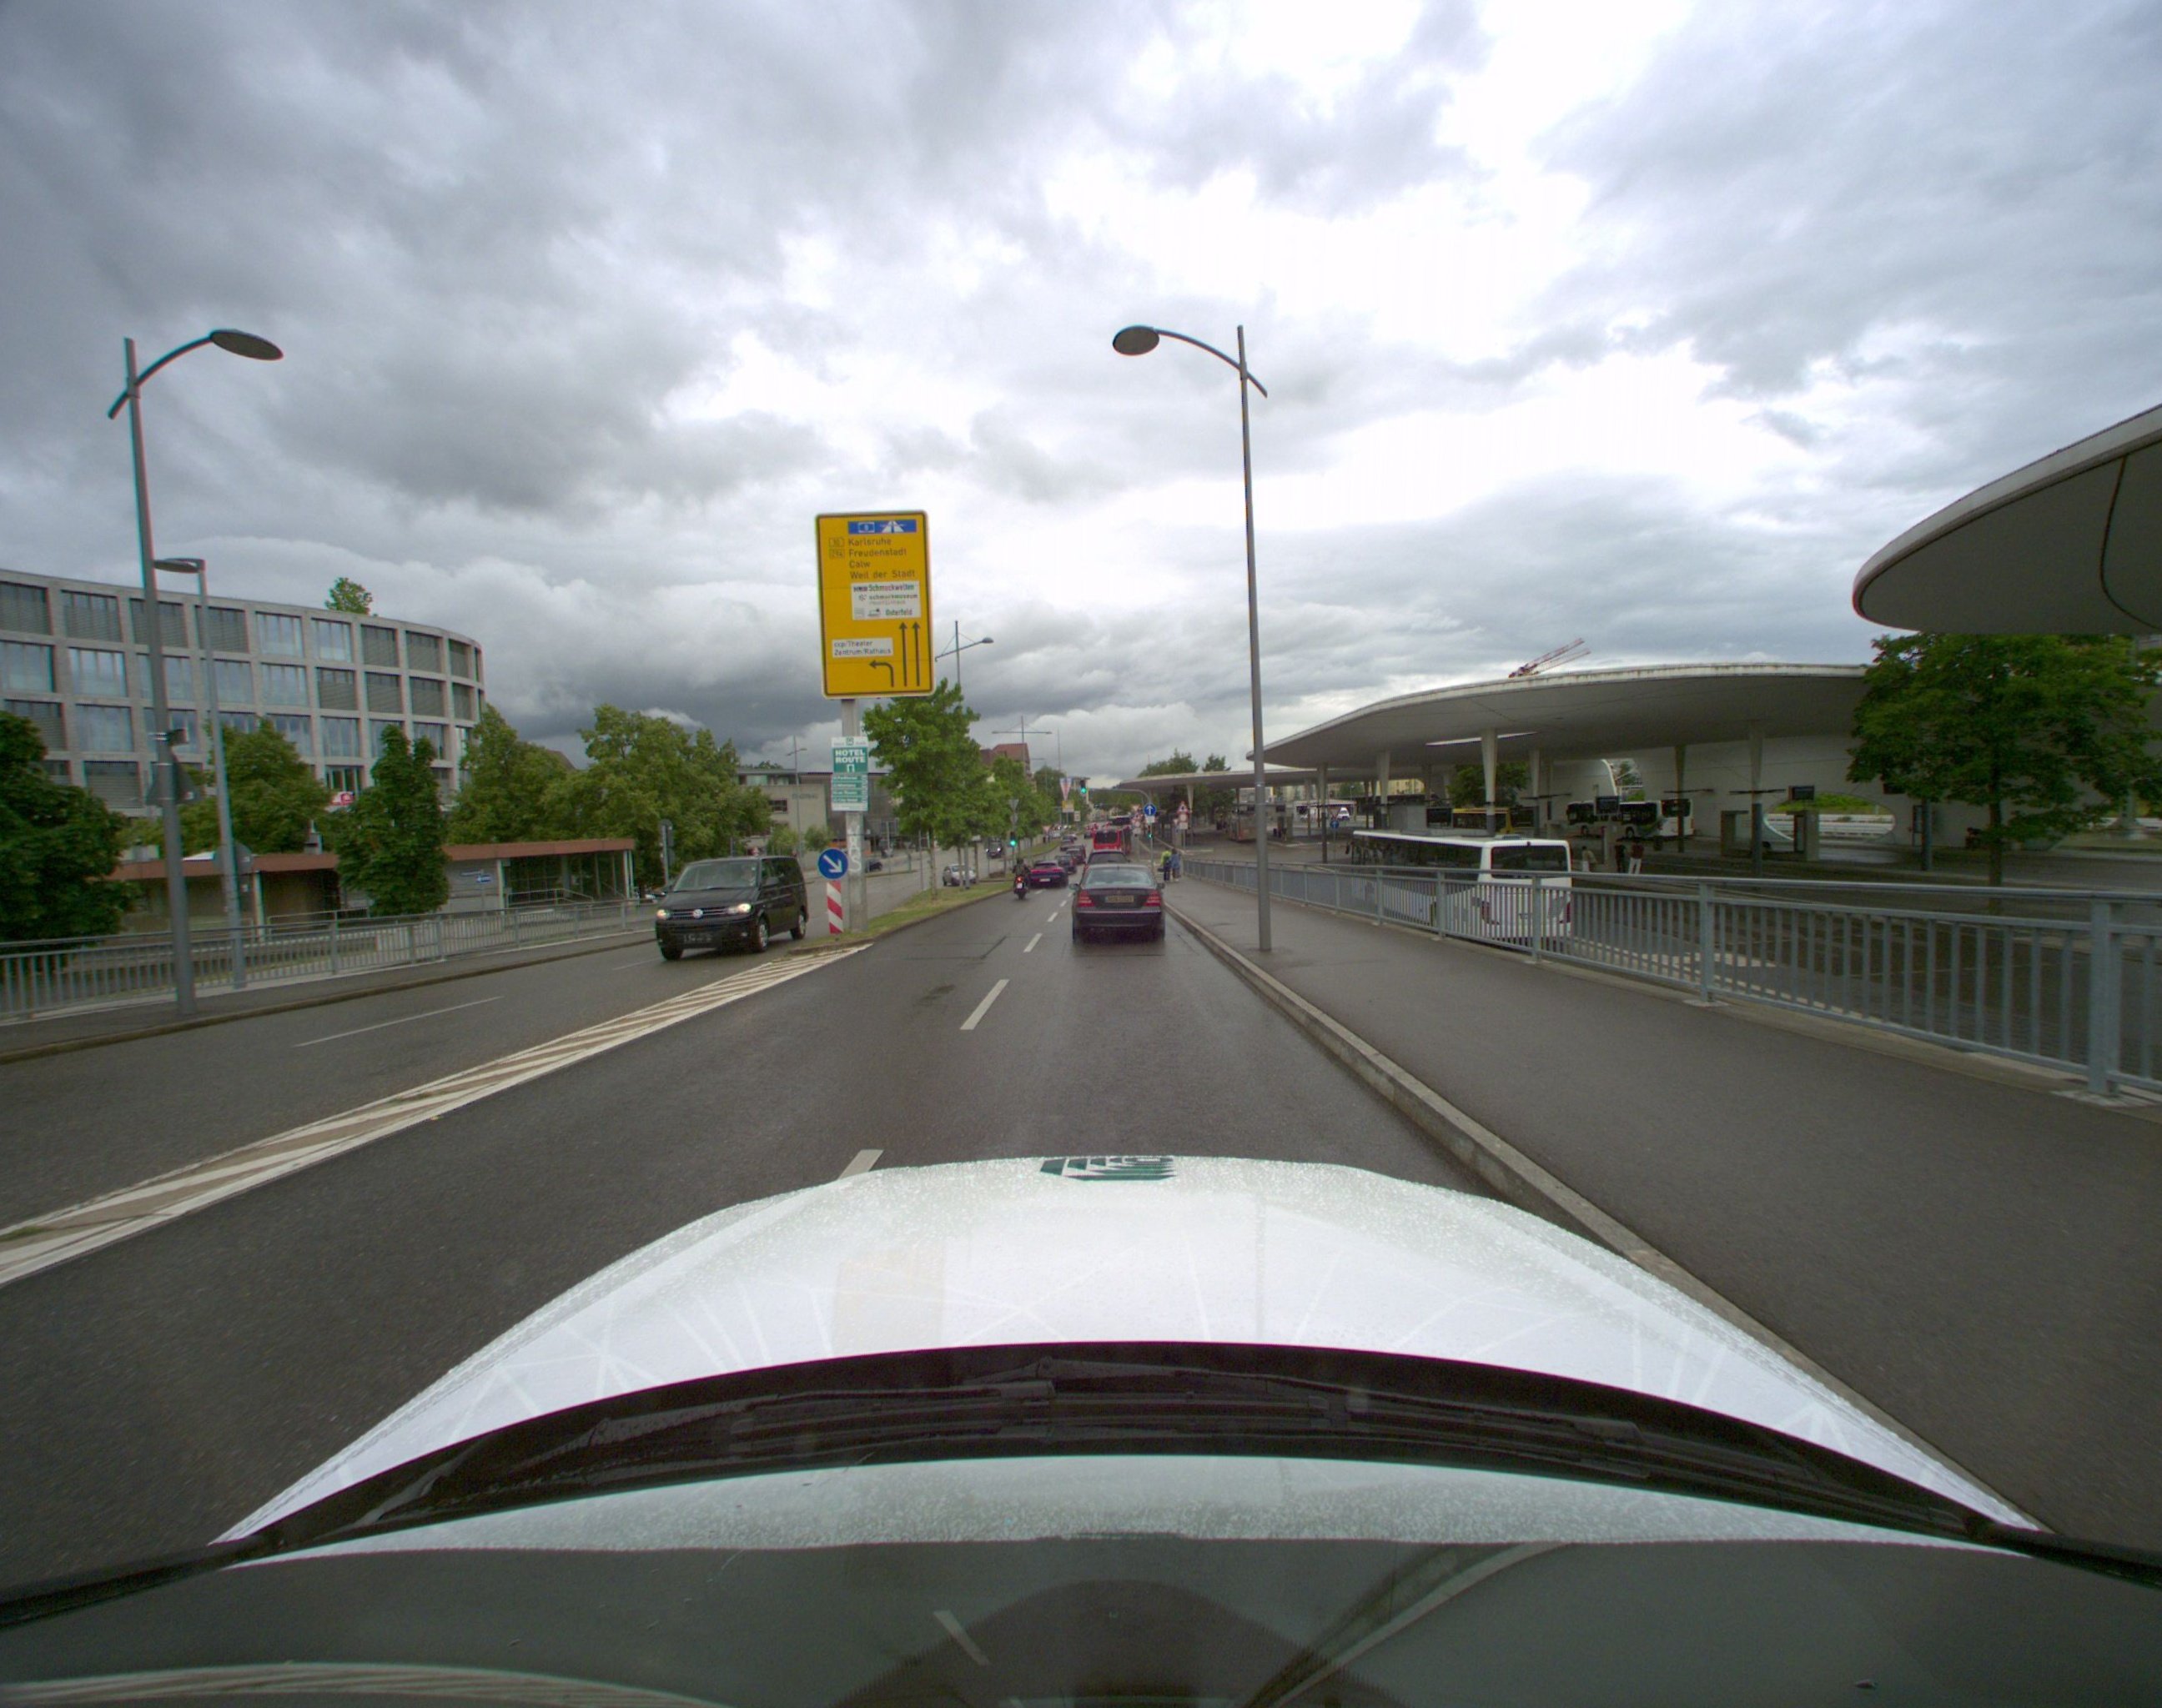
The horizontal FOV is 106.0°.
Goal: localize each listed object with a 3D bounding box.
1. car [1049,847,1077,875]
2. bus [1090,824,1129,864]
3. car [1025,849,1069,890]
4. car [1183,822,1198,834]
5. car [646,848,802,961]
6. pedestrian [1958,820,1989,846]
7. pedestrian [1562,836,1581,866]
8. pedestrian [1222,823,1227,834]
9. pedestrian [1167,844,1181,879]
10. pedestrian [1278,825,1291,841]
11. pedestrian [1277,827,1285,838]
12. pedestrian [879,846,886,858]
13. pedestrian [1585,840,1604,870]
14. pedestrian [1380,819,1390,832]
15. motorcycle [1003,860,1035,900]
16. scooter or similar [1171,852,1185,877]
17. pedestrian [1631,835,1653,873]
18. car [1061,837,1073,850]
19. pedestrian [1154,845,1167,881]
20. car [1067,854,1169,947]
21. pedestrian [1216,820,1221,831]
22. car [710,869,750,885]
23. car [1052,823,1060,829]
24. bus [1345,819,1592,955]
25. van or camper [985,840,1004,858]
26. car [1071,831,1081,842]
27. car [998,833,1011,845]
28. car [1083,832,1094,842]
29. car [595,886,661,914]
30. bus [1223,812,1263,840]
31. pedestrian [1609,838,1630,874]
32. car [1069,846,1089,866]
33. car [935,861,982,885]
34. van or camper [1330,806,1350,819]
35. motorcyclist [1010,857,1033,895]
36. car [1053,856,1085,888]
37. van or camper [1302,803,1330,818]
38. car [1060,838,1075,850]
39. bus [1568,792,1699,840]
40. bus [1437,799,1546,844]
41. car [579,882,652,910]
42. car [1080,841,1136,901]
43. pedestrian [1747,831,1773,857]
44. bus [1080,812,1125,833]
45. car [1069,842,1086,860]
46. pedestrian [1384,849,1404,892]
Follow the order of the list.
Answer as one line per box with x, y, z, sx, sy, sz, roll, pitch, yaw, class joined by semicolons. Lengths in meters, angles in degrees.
-1.257;0.504;59.412;1.670;1.622;3.874;-6;3;2;car
2.861;-1.101;80.562;3.273;3.290;10.888;-4;3;3;bus
-1.686;0.746;42.075;1.809;1.570;4.407;-6;3;2;car
16.808;-4.076;124.994;1.706;1.661;4.241;-3;3;1;car
-7.300;0.954;17.205;1.845;1.967;4.669;-3;-1;-10;car
46.252;-1.074;42.213;0.706;1.325;0.802;0;-1;4;pedestrian
25.987;-0.143;43.186;0.587;1.589;0.677;0;-1;-3;pedestrian
22.249;-3.964;126.657;0.559;1.691;0.613;-3;3;-5;pedestrian
4.425;0.362;38.609;0.587;1.670;0.580;-1;-2;1;pedestrian
22.077;-2.251;88.287;0.721;1.683;1.013;-6;3;-24;pedestrian
24.464;-2.647;99.644;0.786;1.226;0.637;-3;3;19;pedestrian
-28.152;-0.262;115.486;0.471;1.683;0.765;-4;3;8;pedestrian
25.627;0.045;40.644;0.566;1.393;0.558;-4;3;7;pedestrian
37.172;-3.495;99.606;0.793;1.585;0.907;-2;2;-5;pedestrian
-2.290;0.941;30.492;0.789;1.261;1.858;-5;3;5;motorcycle
5.067;0.549;42.527;0.462;1.221;1.860;-4;-1;1;scooter or similar
25.591;0.007;37.167;0.646;1.654;0.632;-6;3;-39;pedestrian
-2.233;-1.695;130.218;1.791;1.907;3.641;0;-1;2;car
3.760;0.416;38.572;0.520;1.670;0.580;-2;0;1;pedestrian
0.686;0.796;16.037;1.691;1.462;4.305;-2;1;1;car
22.951;-4.744;136.129;0.573;1.716;0.565;-1;-1;37;pedestrian
-41.407;2.684;96.143;1.743;1.495;3.813;-2;3;40;car
-6.823;-7.710;223.136;1.773;1.566;3.432;-6;3;2;car
12.455;0.641;28.202;2.834;3.360;12.434;0;4;1;bus
-11.298;-0.607;105.752;2.215;2.072;5.271;-5;0;-7;van or camper
-0.919;-3.115;144.781;1.635;1.804;3.641;0;-1;2;car
-13.386;-2.642;142.587;1.903;1.661;4.856;-3;4;-2;car
1.426;-3.053;147.841;1.859;1.684;4.001;0;0;1;car
-33.568;3.357;60.386;1.706;1.567;3.862;-2;3;44;car
19.794;-3.550;100.213;2.711;3.042;12.097;-4;3;2;bus
25.699;0.083;38.874;0.566;1.654;0.558;-4;2;7;pedestrian
-0.130;0.144;76.355;1.569;1.504;3.875;-6;3;3;car
-8.366;1.262;55.198;1.643;1.448;3.836;-6;2;-32;car
46.202;-7.378;145.319;1.986;2.102;5.482;-1;1;1;van or camper
-2.230;0.829;30.593;0.638;1.347;0.690;-4;3;5;motorcyclist
-0.737;1.128;52.201;1.734;1.566;3.874;-6;3;2;car
43.696;-8.111;151.635;4.592;2.557;2.119;-1;1;0;van or camper
-1.764;-1.344;109.986;1.859;1.684;4.001;0;0;1;car
43.431;-3.130;64.674;2.457;3.256;11.979;-5;3;2;bus
33.503;-2.762;67.233;2.779;3.256;12.143;-3;3;0;bus
-32.778;2.944;57.388;1.706;1.508;4.081;-2;3;43;car
1.111;0.614;33.400;1.950;1.875;4.877;-6;3;2;car
35.294;-0.511;42.326;0.705;1.325;0.803;0;-1;9;pedestrian
4.511;-6.861;177.465;2.861;3.986;11.729;-6;3;-37;bus
-0.351;-0.333;88.189;1.570;1.566;3.874;-6;3;2;car
14.341;0.753;37.348;0.589;1.886;0.642;-4;5;-34;pedestrian
